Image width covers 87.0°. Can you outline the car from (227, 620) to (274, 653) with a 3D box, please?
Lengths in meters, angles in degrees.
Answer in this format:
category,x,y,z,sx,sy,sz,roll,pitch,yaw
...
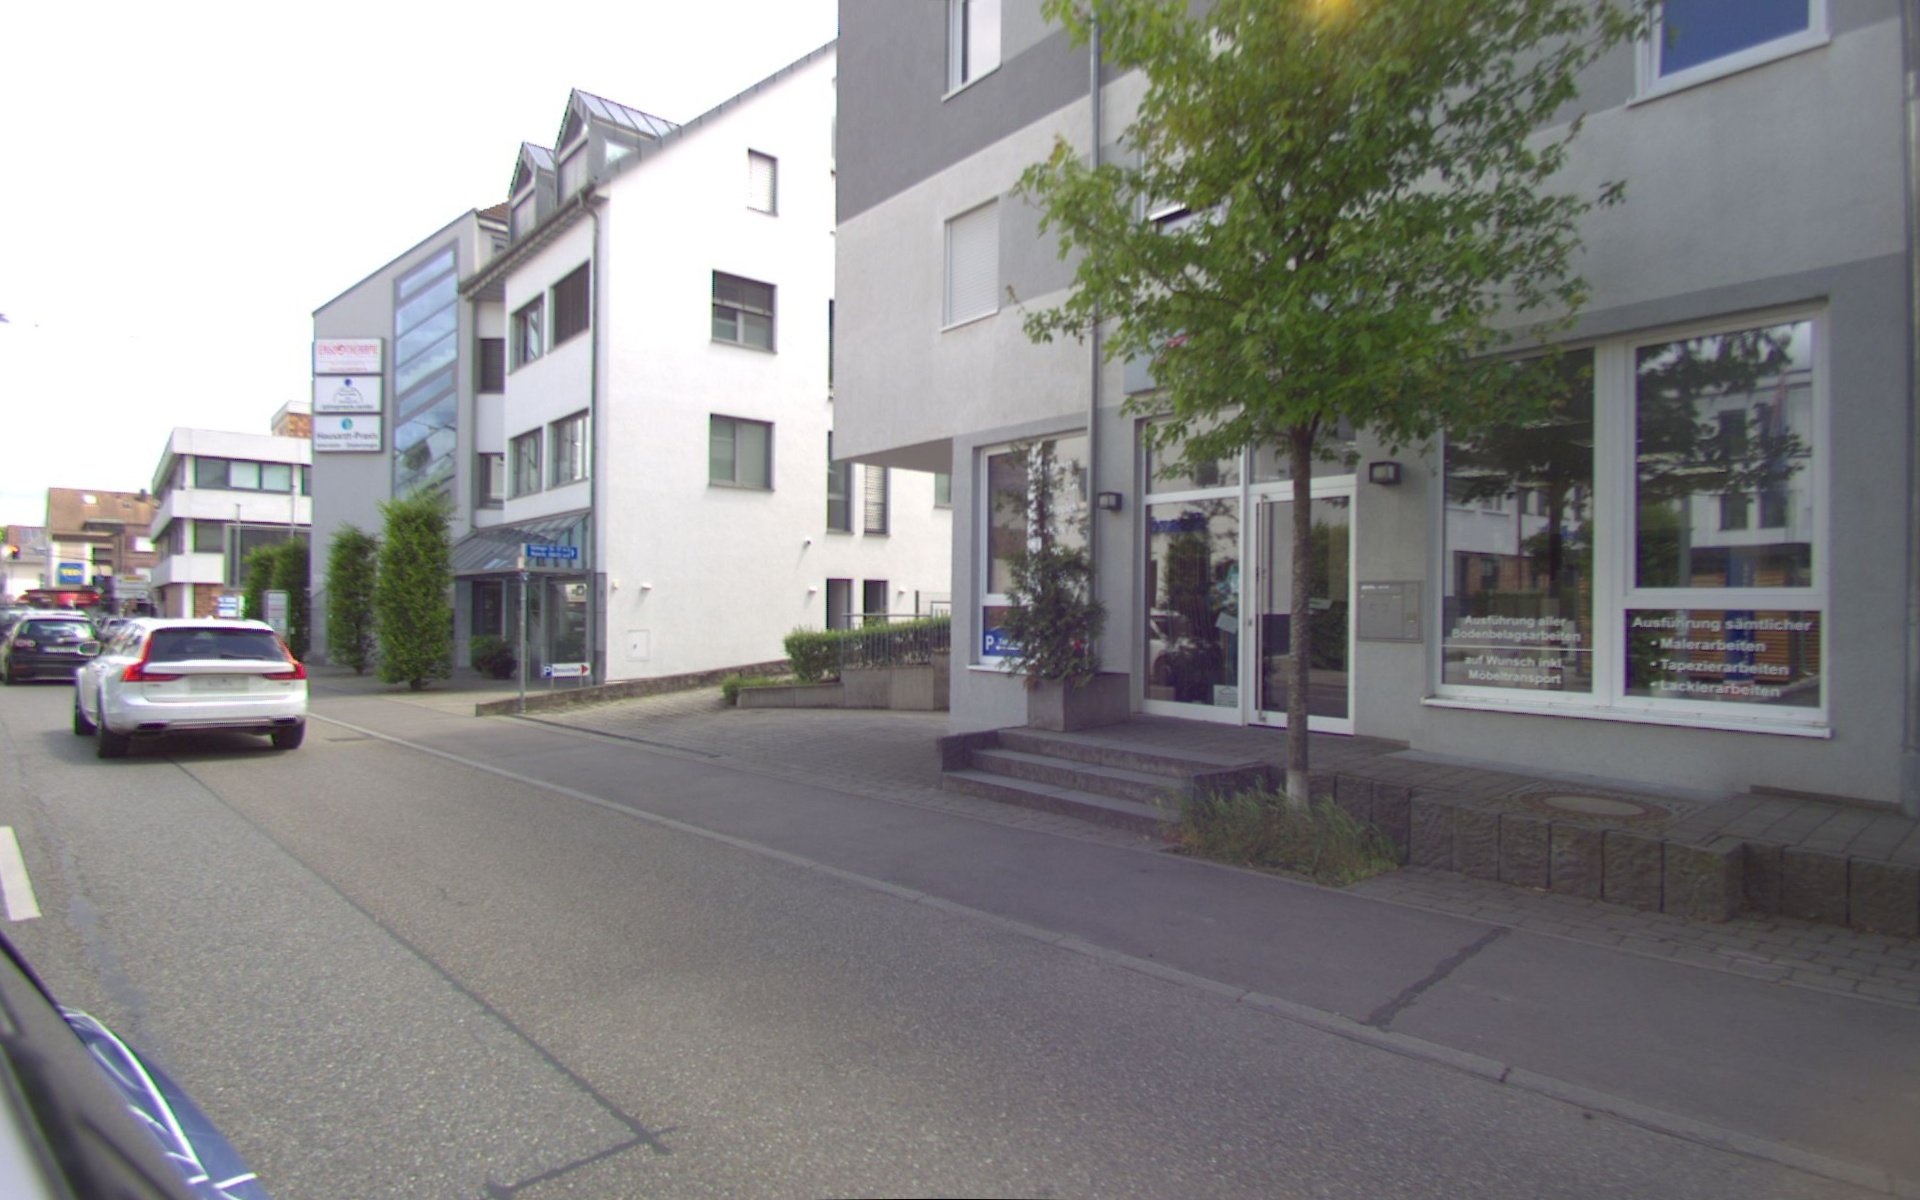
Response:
category,x,y,z,sx,sy,sz,roll,pitch,yaw
car,-39.440,2.018,56.215,1.868,1.710,3.809,3,-3,-38

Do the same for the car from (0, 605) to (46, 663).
category,x,y,z,sx,sy,sz,roll,pitch,yaw
car,-37.158,1.303,39.274,4.884,2.168,2.087,-1,-3,44

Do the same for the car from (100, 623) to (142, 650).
category,x,y,z,sx,sy,sz,roll,pitch,yaw
car,-49.658,2.134,59.876,1.813,1.437,4.224,0,0,-42

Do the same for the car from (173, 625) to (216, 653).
category,x,y,z,sx,sy,sz,roll,pitch,yaw
car,-41.584,2.078,54.941,1.797,1.338,4.244,0,0,-38

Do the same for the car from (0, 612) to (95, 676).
category,x,y,z,sx,sy,sz,roll,pitch,yaw
car,-27.454,1.298,30.283,1.963,1.751,4.799,5,-4,-44

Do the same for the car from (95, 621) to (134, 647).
category,x,y,z,sx,sy,sz,roll,pitch,yaw
car,-54.170,2.146,64.885,1.782,1.541,4.008,0,0,-38

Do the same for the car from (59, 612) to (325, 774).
category,x,y,z,sx,sy,sz,roll,pitch,yaw
car,-9.442,0.995,12.264,1.876,1.571,4.803,5,-4,-45

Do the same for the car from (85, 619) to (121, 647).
category,x,y,z,sx,sy,sz,roll,pitch,yaw
car,-57.995,2.183,68.538,1.676,1.790,4.470,0,0,-38

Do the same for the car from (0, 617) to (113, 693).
category,x,y,z,sx,sy,sz,roll,pitch,yaw
car,-20.922,1.213,23.232,4.039,1.596,1.811,-1,-3,44
